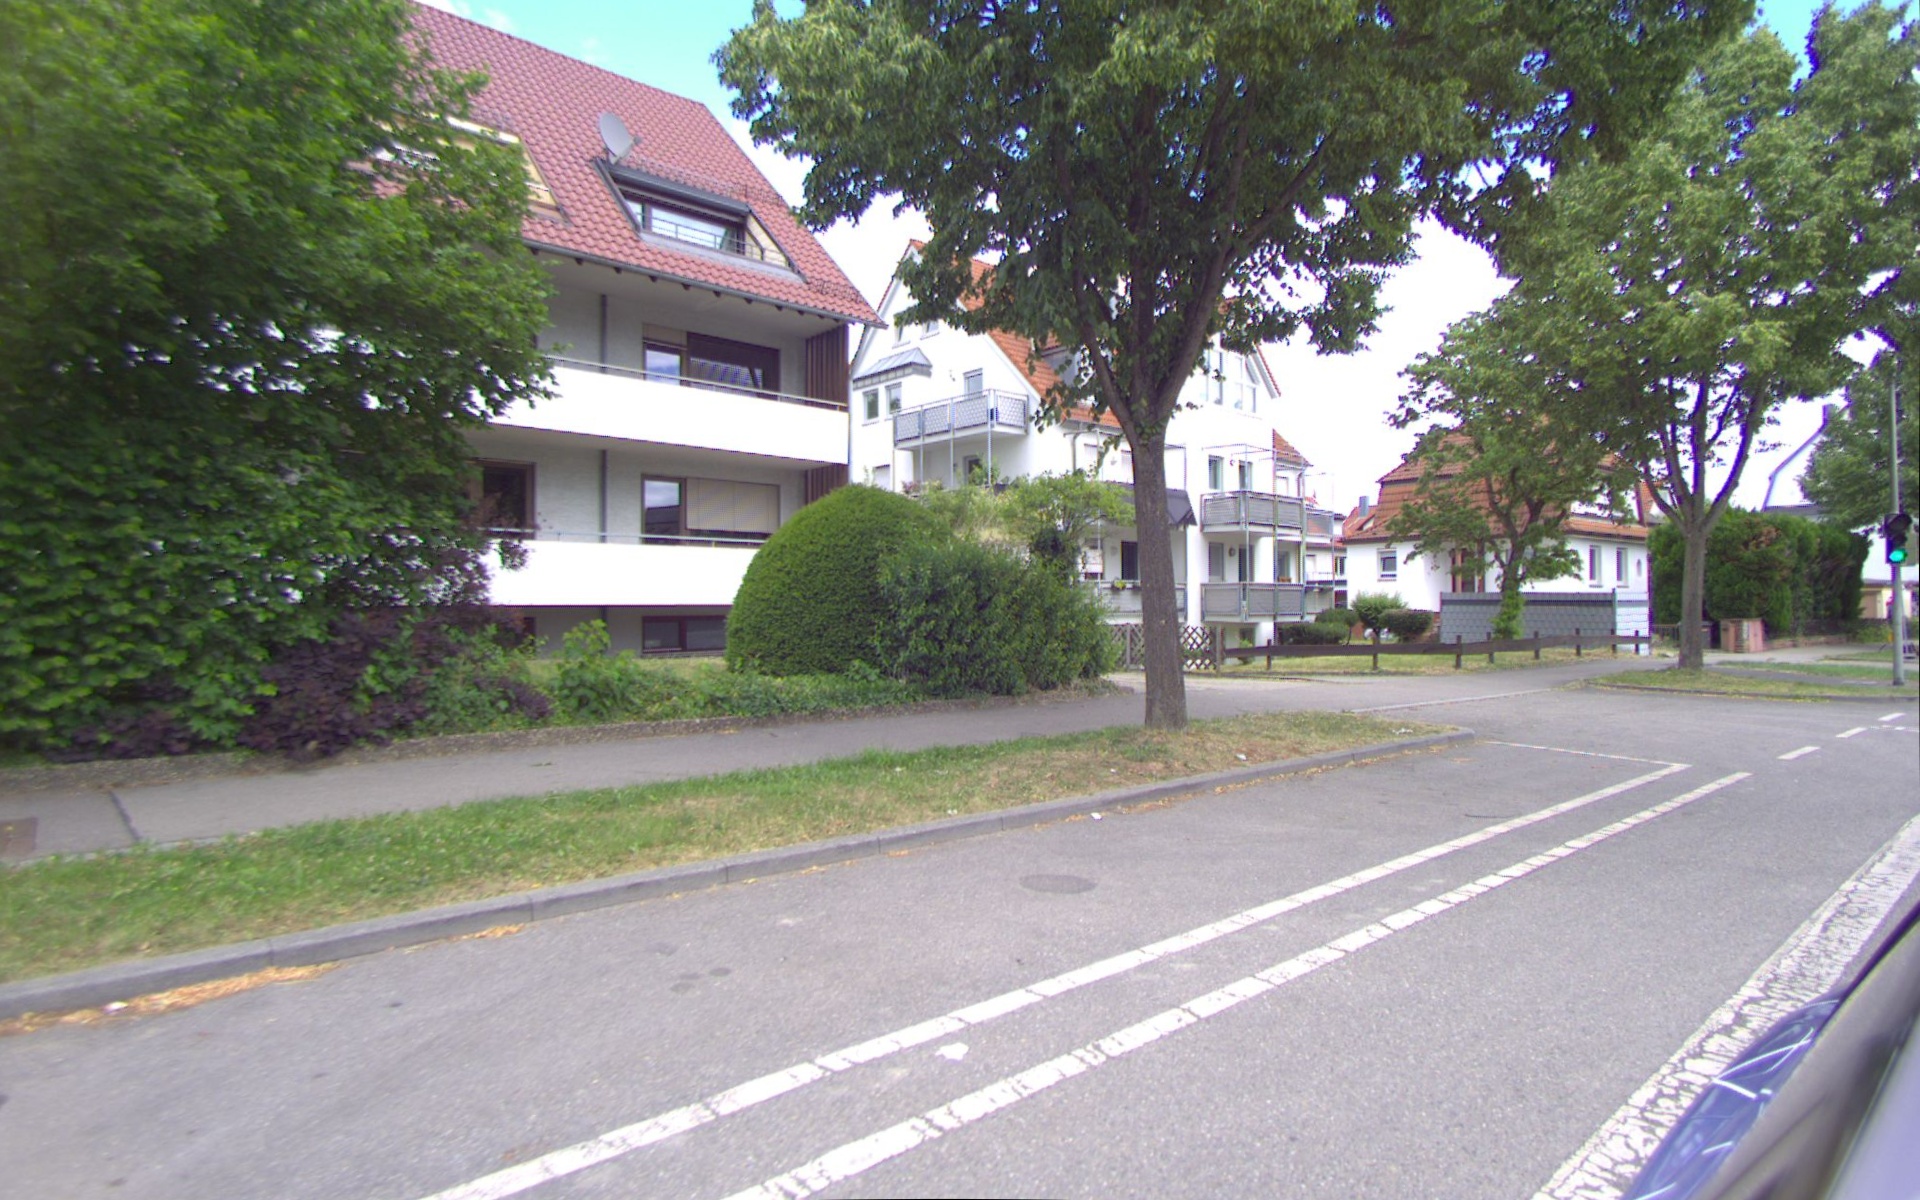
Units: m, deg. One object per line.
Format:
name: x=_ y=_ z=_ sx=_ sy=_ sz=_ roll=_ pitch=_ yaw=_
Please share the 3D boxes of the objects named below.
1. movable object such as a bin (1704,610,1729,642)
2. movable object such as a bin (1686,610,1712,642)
movable object such as a bin: x=25.532 y=0.877 z=34.172 sx=0.508 sy=1.058 sz=0.501 roll=1 pitch=0 yaw=-26
movable object such as a bin: x=25.310 y=0.874 z=34.663 sx=0.508 sy=1.072 sz=0.542 roll=1 pitch=0 yaw=-25
